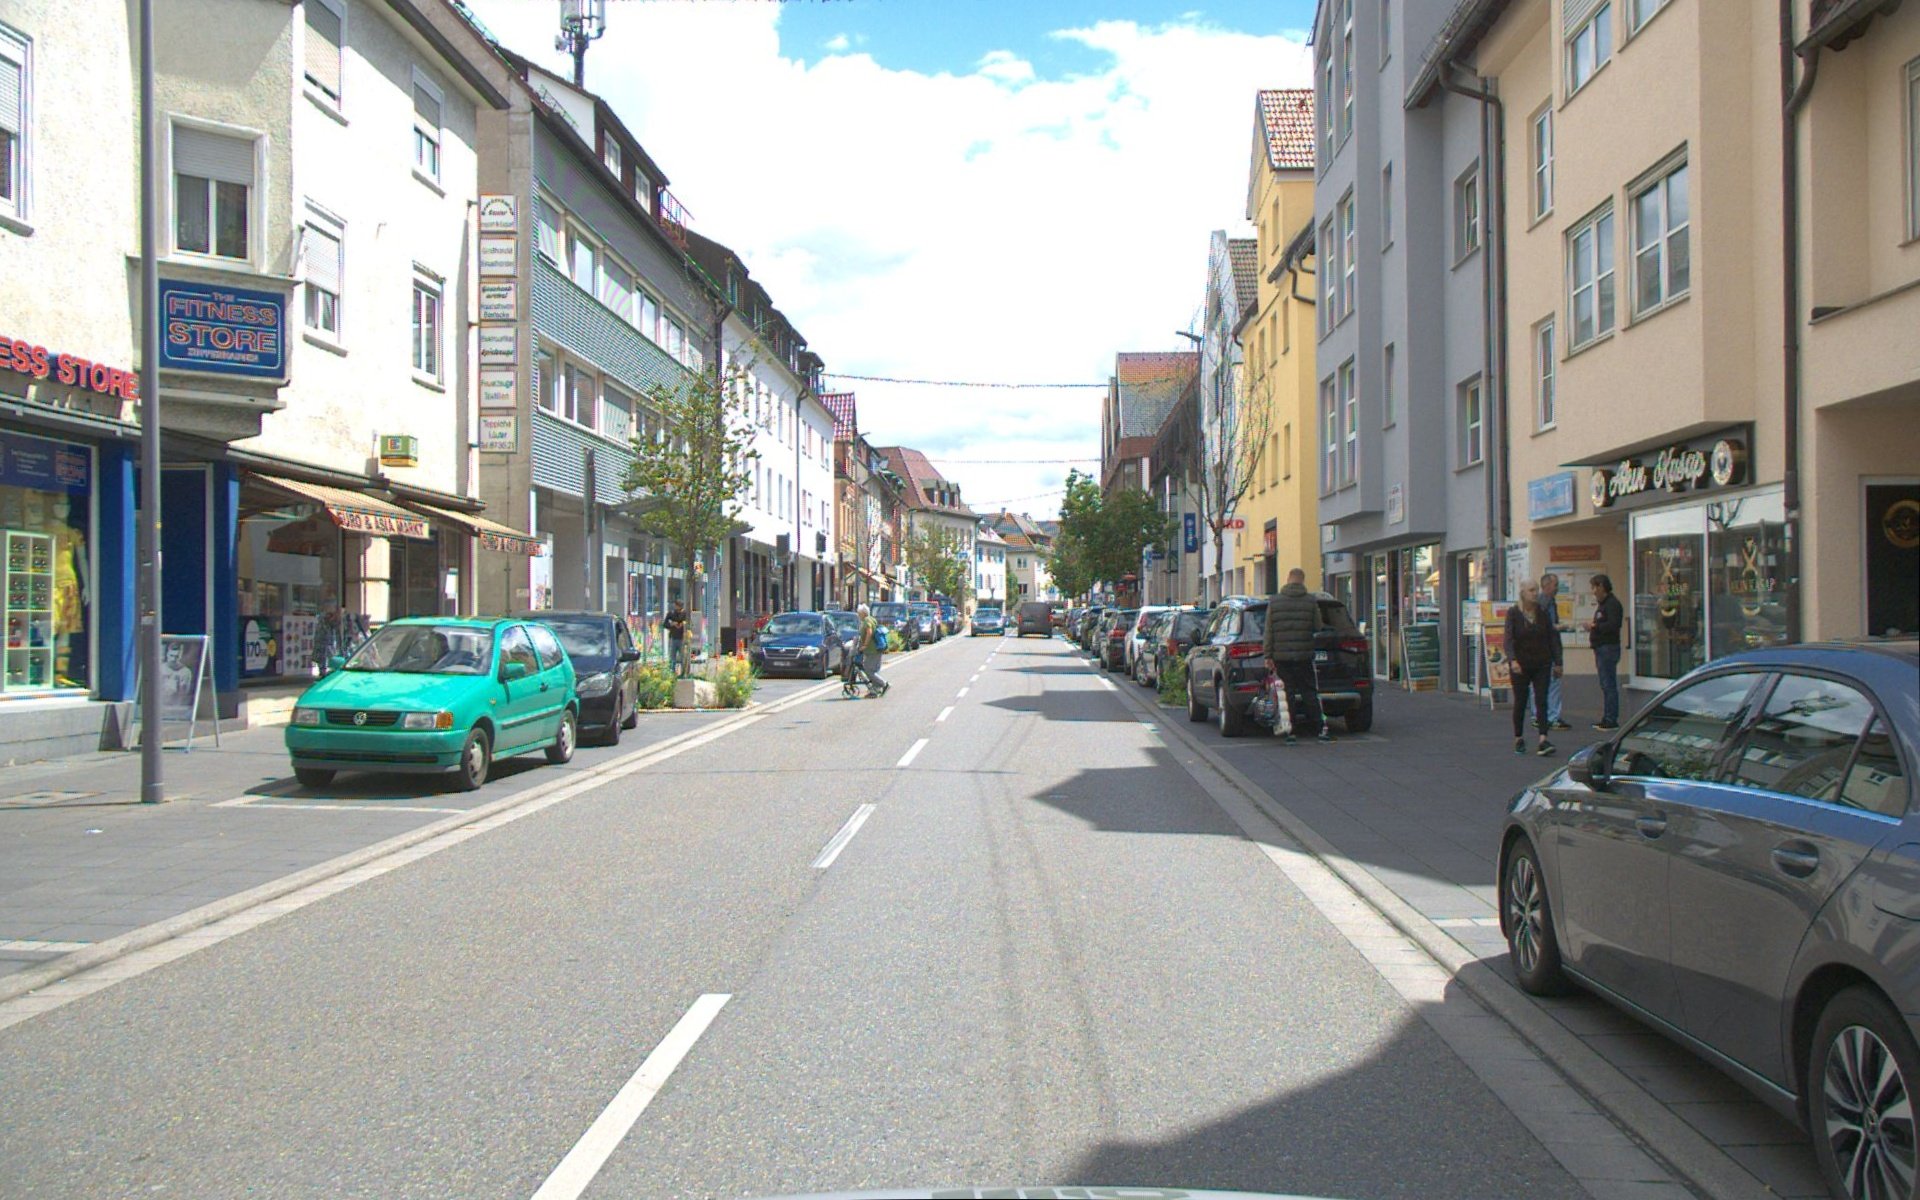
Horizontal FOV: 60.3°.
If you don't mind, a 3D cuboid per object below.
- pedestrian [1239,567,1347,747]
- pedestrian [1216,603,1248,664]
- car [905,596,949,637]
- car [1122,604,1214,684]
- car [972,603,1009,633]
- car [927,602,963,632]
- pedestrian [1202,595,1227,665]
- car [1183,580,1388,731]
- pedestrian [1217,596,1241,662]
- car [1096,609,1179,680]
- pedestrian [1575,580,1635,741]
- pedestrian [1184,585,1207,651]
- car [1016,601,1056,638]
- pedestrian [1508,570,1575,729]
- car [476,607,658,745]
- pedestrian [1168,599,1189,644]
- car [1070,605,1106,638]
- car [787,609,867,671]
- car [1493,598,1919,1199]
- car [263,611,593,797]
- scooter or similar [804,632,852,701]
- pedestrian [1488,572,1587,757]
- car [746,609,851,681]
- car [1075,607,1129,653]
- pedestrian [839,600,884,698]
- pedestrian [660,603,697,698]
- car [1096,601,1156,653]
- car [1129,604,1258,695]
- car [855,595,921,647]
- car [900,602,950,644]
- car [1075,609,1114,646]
[{"bbox_3d":[3.634,0.617,18.116,0.955,1.896,0.864,-2,-1,1],"label":"pedestrian"},{"bbox_3d":[7.104,0.881,43.233,0.734,1.580,0.726,-1,-1,2],"label":"pedestrian"},{"bbox_3d":[-1.606,0.853,82.225,1.778,1.922,4.842,1,-1,3],"label":"car"},{"bbox_3d":[4.461,0.933,35.886,1.654,1.601,3.757,1,-1,2],"label":"car"},{"bbox_3d":[1.716,1.042,92.174,1.865,1.591,4.647,1,-1,3],"label":"car"},{"bbox_3d":[-0.826,0.970,94.635,1.762,1.626,4.390,0,0,3],"label":"car"},{"bbox_3d":[6.829,0.803,44.424,0.575,1.873,0.576,1,-1,3],"label":"pedestrian"},{"bbox_3d":[3.921,0.627,20.603,1.762,1.631,4.204,-2,0,1],"label":"car"},{"bbox_3d":[7.741,0.831,47.620,0.575,1.873,0.576,1,-1,3],"label":"pedestrian"},{"bbox_3d":[4.307,1.054,40.649,1.654,1.497,4.525,1,1,2],"label":"car"},{"bbox_3d":[7.122,0.664,18.265,0.427,1.748,0.537,1,-1,0],"label":"pedestrian"},{"bbox_3d":[6.693,0.513,47.000,0.575,1.873,0.576,1,-1,3],"label":"pedestrian"},{"bbox_3d":[3.992,1.040,87.858,1.998,1.881,5.000,1,-1,1],"label":"car"},{"bbox_3d":[6.537,0.551,18.624,0.524,1.748,0.606,1,-1,1],"label":"pedestrian"},{"bbox_3d":[-4.596,0.859,19.782,1.566,1.471,3.553,1,-1,-5],"label":"car"},{"bbox_3d":[8.642,0.850,65.332,0.726,1.768,0.757,1,-1,3],"label":"pedestrian"},{"bbox_3d":[6.218,1.072,80.669,1.685,1.520,4.110,1,-1,4],"label":"car"},{"bbox_3d":[-3.443,1.013,43.450,1.754,1.530,4.177,1,0,-1],"label":"car"},{"bbox_3d":[2.976,0.769,4.959,1.671,1.445,4.320,1,-1,5],"label":"car"},{"bbox_3d":[-4.647,0.862,15.005,1.552,1.439,3.670,1,-1,4],"label":"car"},{"bbox_3d":[-2.263,1.136,28.446,0.766,1.145,0.630,1,-1,-2],"label":"scooter or similar"},{"bbox_3d":[5.579,0.619,16.003,0.728,1.748,0.656,0,-1,1],"label":"pedestrian"},{"bbox_3d":[-3.672,0.998,38.329,1.753,1.539,4.714,1,0,2],"label":"car"},{"bbox_3d":[5.159,1.095,60.575,1.685,1.604,4.109,1,-1,1],"label":"car"},{"bbox_3d":[-1.697,0.840,28.478,0.716,1.646,0.651,1,-1,-2],"label":"pedestrian"},{"bbox_3d":[-5.419,0.973,31.869,0.537,1.788,0.728,1,-1,-1],"label":"pedestrian"},{"bbox_3d":[5.154,0.852,51.635,1.685,1.502,4.356,1,-1,4],"label":"car"},{"bbox_3d":[4.177,0.880,30.181,1.655,1.466,4.295,-2,-1,-1],"label":"car"},{"bbox_3d":[-2.622,0.791,61.319,1.778,1.786,4.671,1,-1,5],"label":"car"},{"bbox_3d":[-1.546,1.048,74.474,1.778,1.786,4.465,1,-1,4],"label":"car"},{"bbox_3d":[6.092,1.261,75.181,1.685,1.604,4.430,1,-1,4],"label":"car"}]
